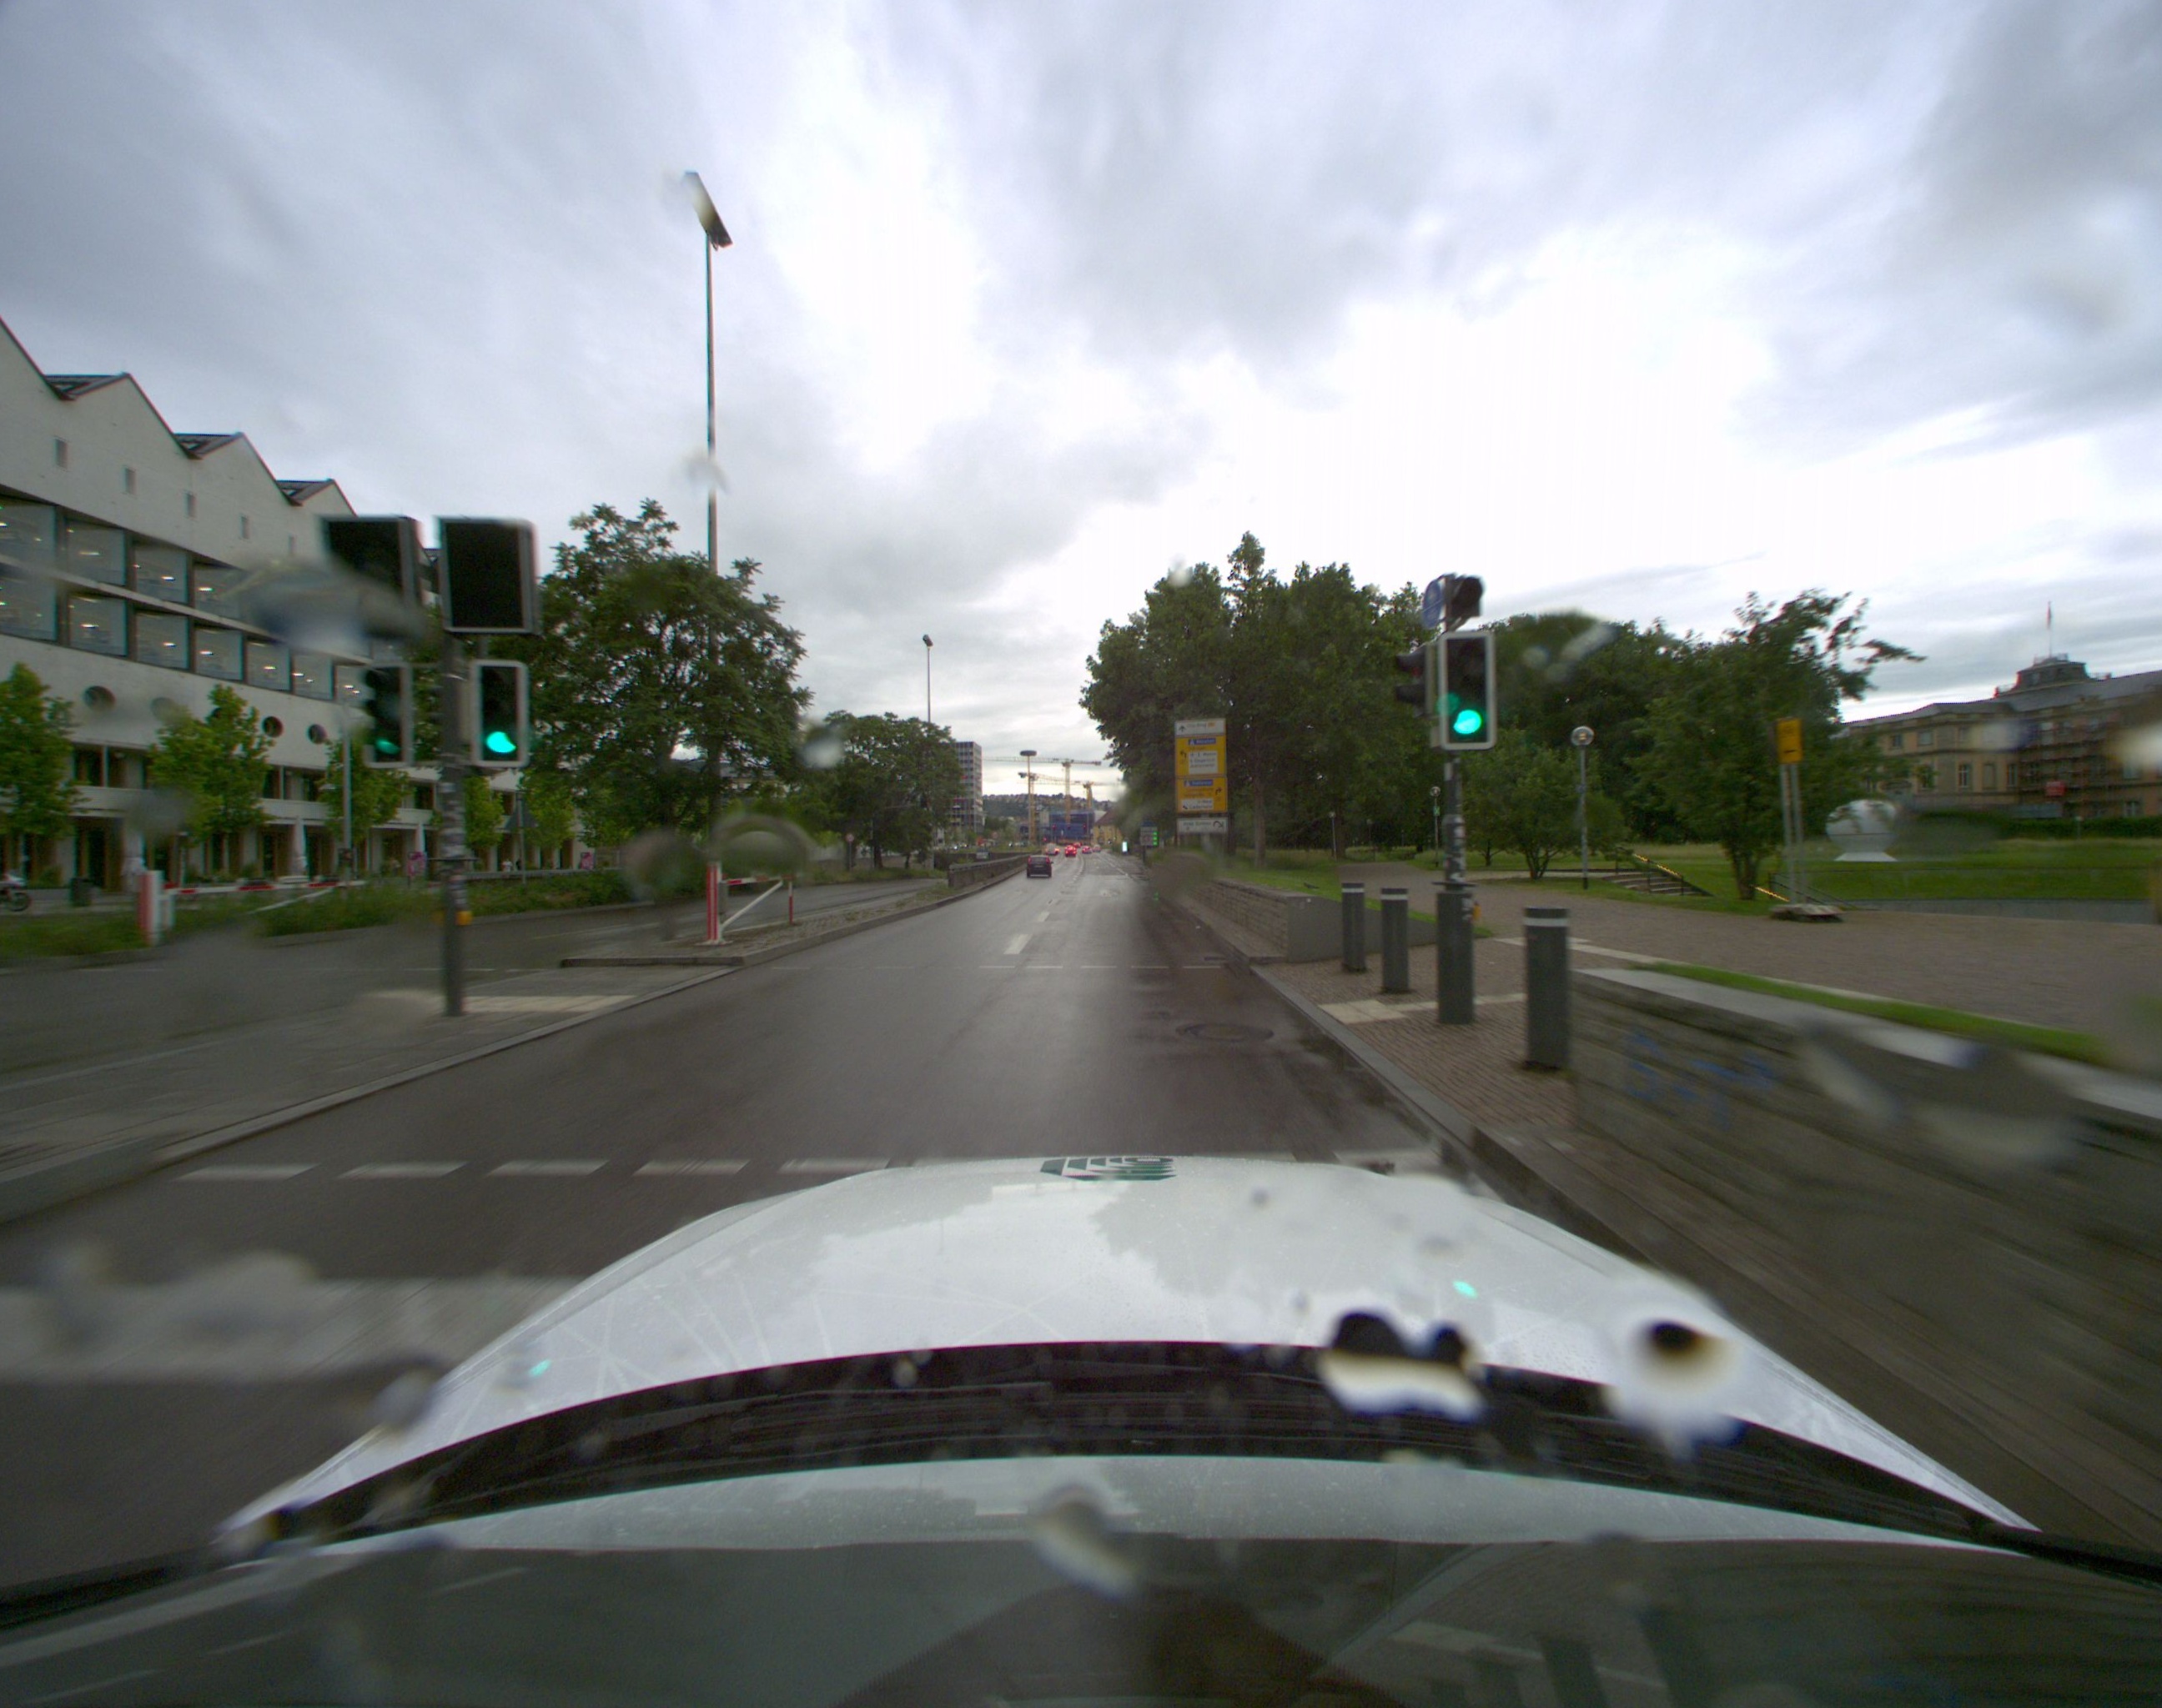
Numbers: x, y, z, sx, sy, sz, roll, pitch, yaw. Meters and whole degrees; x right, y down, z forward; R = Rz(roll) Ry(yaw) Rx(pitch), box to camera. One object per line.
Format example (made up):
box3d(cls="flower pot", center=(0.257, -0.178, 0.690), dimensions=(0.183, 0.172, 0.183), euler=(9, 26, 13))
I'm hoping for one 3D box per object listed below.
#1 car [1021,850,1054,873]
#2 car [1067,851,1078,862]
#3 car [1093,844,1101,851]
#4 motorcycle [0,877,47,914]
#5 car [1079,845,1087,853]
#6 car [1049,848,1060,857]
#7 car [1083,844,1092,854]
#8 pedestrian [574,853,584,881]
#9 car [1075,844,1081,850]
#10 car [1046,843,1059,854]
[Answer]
box3d(cls="car", center=(-2.933, 0.495, 54.397), dimensions=(1.843, 1.416, 3.828), euler=(-2, -1, -8))
box3d(cls="car", center=(-1.551, 0.469, 147.439), dimensions=(1.733, 1.771, 4.000), euler=(-2, -1, 0))
box3d(cls="car", center=(3.818, -1.495, 194.125), dimensions=(1.986, 1.599, 4.002), euler=(-2, -1, 2))
box3d(cls="motorcycle", center=(-34.980, 1.344, 26.341), dimensions=(1.845, 1.154, 0.423), euler=(-2, 0, -29))
box3d(cls="car", center=(0.480, -1.086, 182.381), dimensions=(1.706, 1.690, 3.850), euler=(-2, -1, 2))
box3d(cls="car", center=(-5.715, -0.265, 174.534), dimensions=(1.986, 1.782, 4.002), euler=(-2, -1, 2))
box3d(cls="car", center=(1.426, -0.973, 176.620), dimensions=(1.981, 2.014, 3.999), euler=(-2, -1, 0))
box3d(cls="pedestrian", center=(-36.873, 0.930, 59.805), dimensions=(0.543, 2.014, 0.525), euler=(-2, -1, -36))
box3d(cls="car", center=(-0.788, -2.111, 243.065), dimensions=(1.715, 1.557, 3.585), euler=(-1, 0, 2))
box3d(cls="car", center=(-5.539, -1.111, 157.214), dimensions=(2.211, 2.014, 4.002), euler=(-2, -1, 2))
